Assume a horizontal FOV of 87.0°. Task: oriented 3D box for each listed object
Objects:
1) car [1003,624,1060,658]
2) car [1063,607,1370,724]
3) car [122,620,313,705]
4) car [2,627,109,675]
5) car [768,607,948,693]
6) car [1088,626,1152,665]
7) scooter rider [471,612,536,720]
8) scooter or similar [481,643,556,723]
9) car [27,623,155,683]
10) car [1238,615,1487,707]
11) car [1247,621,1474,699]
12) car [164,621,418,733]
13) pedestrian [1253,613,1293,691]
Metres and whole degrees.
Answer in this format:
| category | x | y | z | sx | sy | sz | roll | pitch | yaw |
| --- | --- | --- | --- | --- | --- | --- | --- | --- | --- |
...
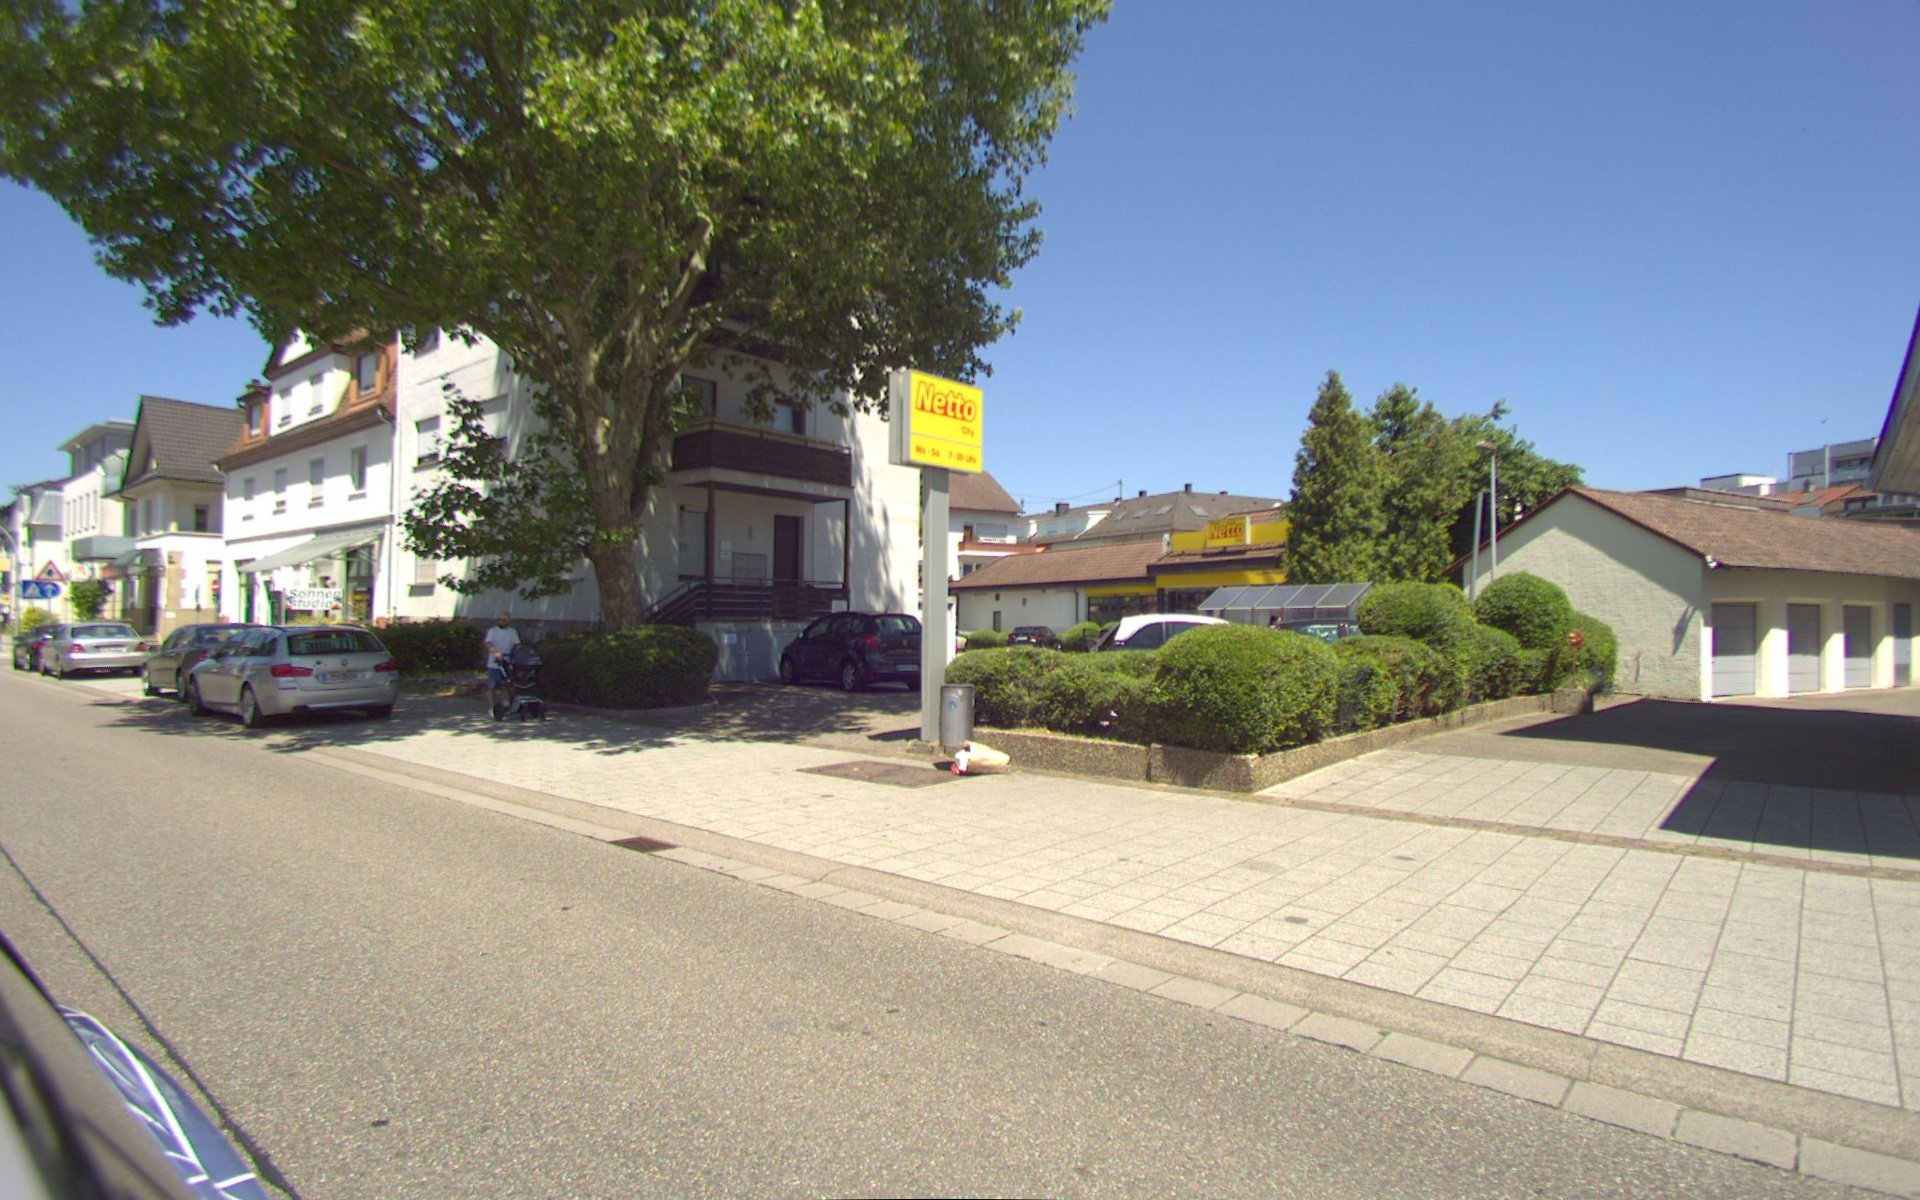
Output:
| category | x | y | z | sx | sy | sz | roll | pitch | yaw |
| --- | --- | --- | --- | --- | --- | --- | --- | --- | --- |
| car | 3.391 | 1.899 | 47.293 | 1.981 | 1.509 | 3.980 | 0 | -2 | 15 |
| car | 3.510 | 0.877 | 14.383 | 3.952 | 1.498 | 1.891 | 0 | -2 | 11 |
| car | -14.758 | 1.147 | 20.007 | 4.864 | 1.463 | 1.961 | -1 | -1 | 40 |
| car | -28.264 | 1.529 | 31.570 | 5.096 | 1.384 | 1.922 | -1 | -2 | 42 |
| car | -2.173 | 0.980 | 20.543 | 1.782 | 1.557 | 4.115 | 2 | -2 | -36 |
| car | 6.588 | 1.842 | 41.406 | 1.984 | 1.509 | 3.975 | 0 | -2 | 19 |
| scooter rider | -6.981 | 0.987 | 15.464 | 0.877 | 1.587 | 0.582 | -2 | 0 | 42 |
| scooter or similar | -6.556 | 1.212 | 15.018 | 1.028 | 1.106 | 0.656 | -2 | 0 | 42 |
| car | -23.719 | 1.372 | 27.554 | 5.355 | 1.463 | 1.960 | -1 | -1 | 42 |
| car | 7.033 | 1.036 | 17.874 | 3.906 | 1.474 | 1.737 | -1 | -3 | 24 |
| car | 7.847 | 1.177 | 20.231 | 3.999 | 1.445 | 1.767 | 0 | -3 | 15 |
| car | -10.576 | 1.082 | 15.833 | 5.146 | 1.463 | 1.961 | -1 | -1 | 40 |
| pedestrian | 6.701 | 1.098 | 21.650 | 0.714 | 1.639 | 0.679 | -1 | -2 | 27 |
